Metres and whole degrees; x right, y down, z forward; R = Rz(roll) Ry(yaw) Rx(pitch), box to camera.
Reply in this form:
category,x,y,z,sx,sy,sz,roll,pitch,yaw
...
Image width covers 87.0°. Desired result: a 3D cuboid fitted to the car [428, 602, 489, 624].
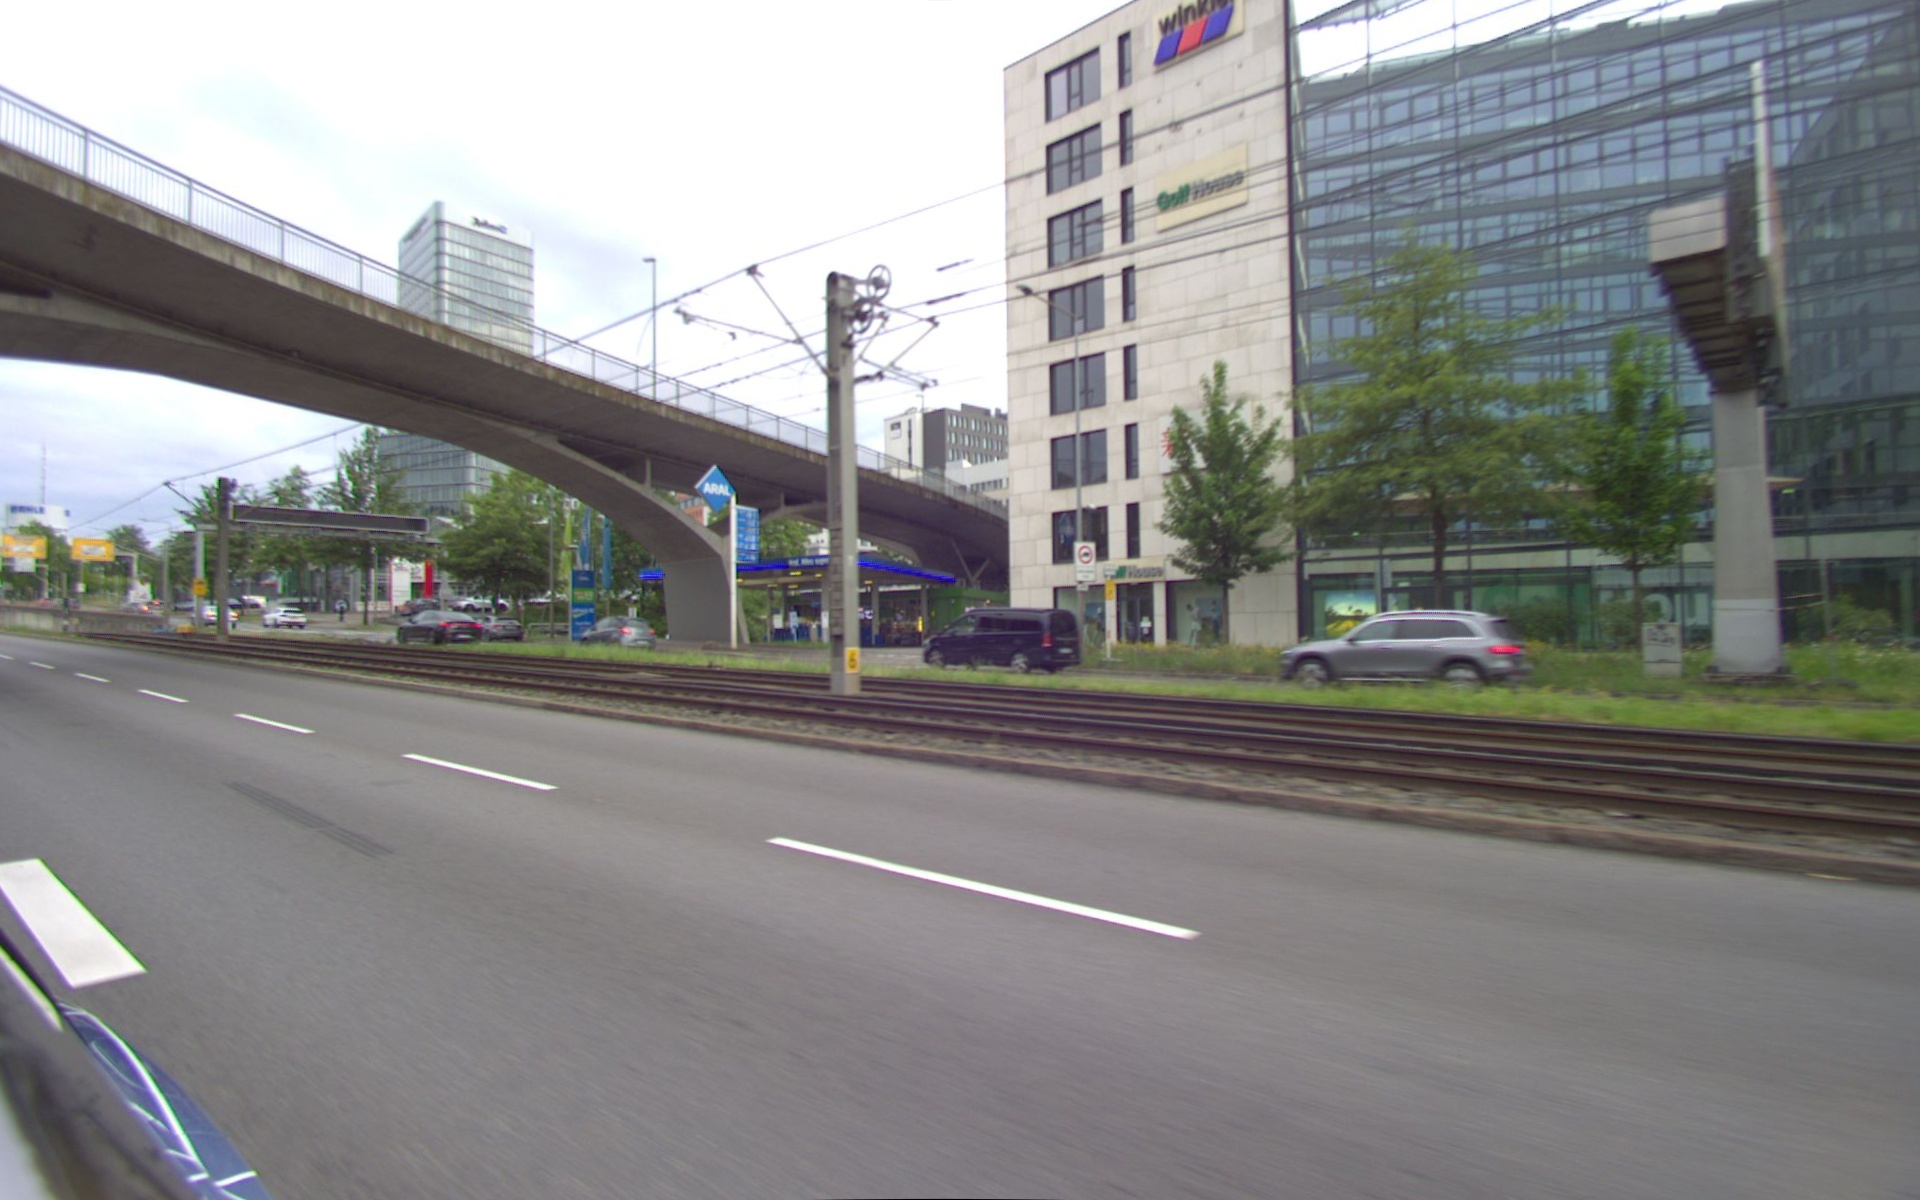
category,x,y,z,sx,sy,sz,roll,pitch,yaw
car,-41.926,1.072,84.648,1.886,1.785,4.140,1,1,44

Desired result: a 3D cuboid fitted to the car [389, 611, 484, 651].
category,x,y,z,sx,sy,sz,roll,pitch,yaw
car,-21.819,1.267,42.101,4.865,1.545,1.791,-1,0,40

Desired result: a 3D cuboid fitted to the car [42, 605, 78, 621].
category,x,y,z,sx,sy,sz,roll,pitch,yaw
car,-92.116,1.329,103.599,4.754,1.550,2.027,-1,0,39

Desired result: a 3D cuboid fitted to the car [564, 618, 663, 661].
category,x,y,z,sx,sy,sz,roll,pitch,yaw
car,-13.707,1.515,39.889,4.272,1.545,1.791,-1,0,41

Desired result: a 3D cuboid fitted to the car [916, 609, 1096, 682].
category,x,y,z,sx,sy,sz,roll,pitch,yaw
car,1.297,1.301,30.119,5.127,1.967,2.038,-1,0,39

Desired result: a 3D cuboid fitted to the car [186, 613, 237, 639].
category,x,y,z,sx,sy,sz,roll,pitch,yaw
car,-48.269,1.670,65.251,4.790,1.610,1.745,-1,0,42

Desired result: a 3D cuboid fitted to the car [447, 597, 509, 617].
category,x,y,z,sx,sy,sz,roll,pitch,yaw
car,-39.890,0.551,83.796,1.886,1.515,4.304,1,1,44

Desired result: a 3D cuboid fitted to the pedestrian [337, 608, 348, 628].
category,x,y,z,sx,sy,sz,roll,pitch,yaw
pedestrian,-56.232,1.619,92.202,0.636,1.809,0.679,1,1,42

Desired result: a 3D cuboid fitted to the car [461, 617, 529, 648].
category,x,y,z,sx,sy,sz,roll,pitch,yaw
car,-25.231,1.733,54.836,4.490,1.610,1.745,-1,0,42

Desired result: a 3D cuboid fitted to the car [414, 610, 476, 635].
category,x,y,z,sx,sy,sz,roll,pitch,yaw
car,-44.116,1.926,86.742,1.886,1.962,4.304,1,1,44

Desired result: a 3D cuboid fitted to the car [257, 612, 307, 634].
category,x,y,z,sx,sy,sz,roll,pitch,yaw
car,-49.531,1.678,73.931,4.656,1.509,1.899,-1,-4,42

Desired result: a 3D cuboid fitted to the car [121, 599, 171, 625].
category,x,y,z,sx,sy,sz,roll,pitch,yaw
car,-61.928,0.931,76.975,4.216,1.790,1.903,-1,-4,36

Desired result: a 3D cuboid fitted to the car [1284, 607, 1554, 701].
category,x,y,z,sx,sy,sz,roll,pitch,yaw
car,8.918,0.988,19.903,4.490,1.618,1.790,-1,0,42

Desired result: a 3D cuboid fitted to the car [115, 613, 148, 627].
category,x,y,z,sx,sy,sz,roll,pitch,yaw
car,-93.404,2.287,114.045,4.562,1.540,2.027,-1,0,39

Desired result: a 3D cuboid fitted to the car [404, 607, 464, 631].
category,x,y,z,sx,sy,sz,roll,pitch,yaw
car,-45.766,1.661,88.071,1.886,1.962,4.304,1,1,44
